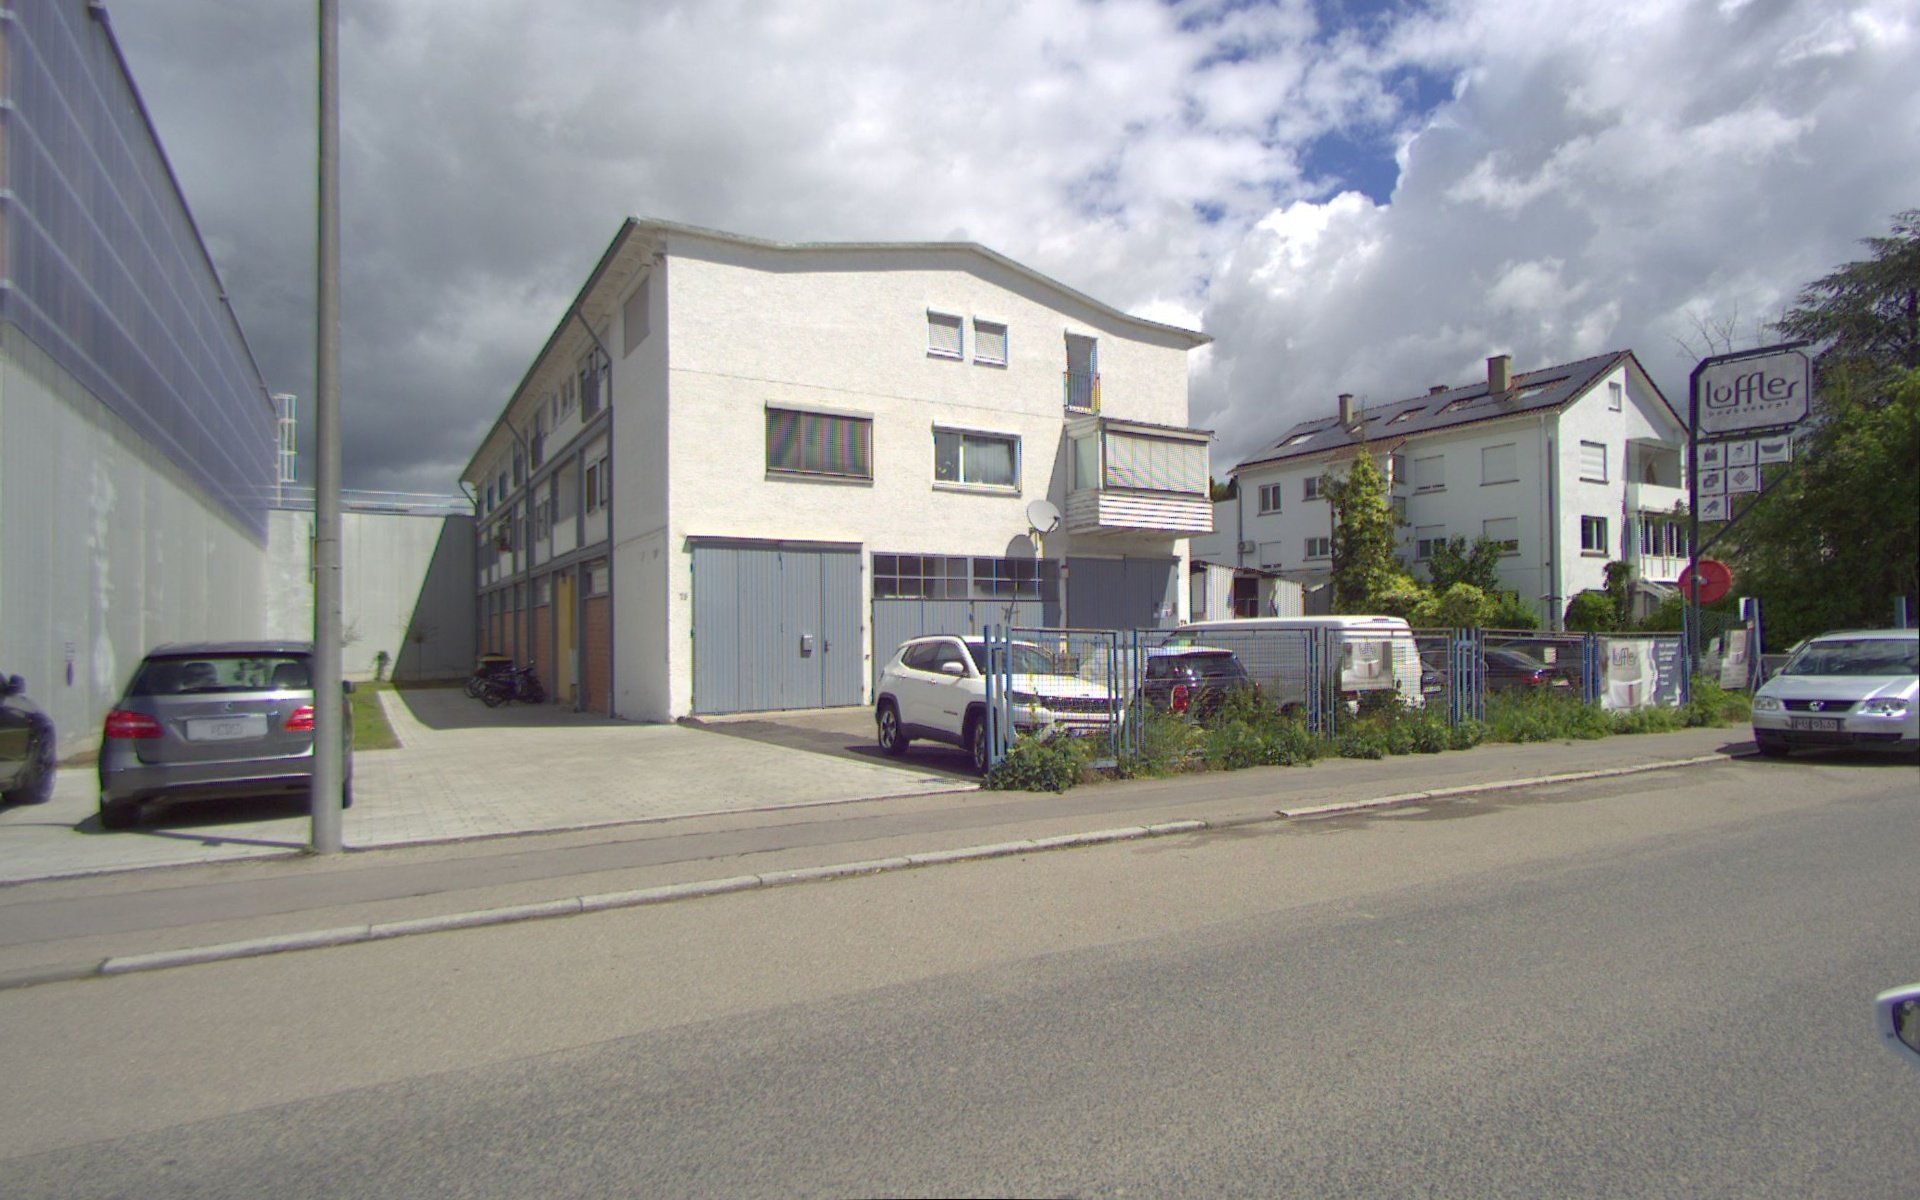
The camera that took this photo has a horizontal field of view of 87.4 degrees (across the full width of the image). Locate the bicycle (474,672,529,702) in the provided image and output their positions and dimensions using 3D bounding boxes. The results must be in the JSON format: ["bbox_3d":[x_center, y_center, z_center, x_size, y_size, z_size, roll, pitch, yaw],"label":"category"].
[{"bbox_3d":[-14.762,2.795,32.356,1.579,0.867,0.392,1,1,-31],"label":"bicycle"}]

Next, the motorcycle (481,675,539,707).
[{"bbox_3d":[-13.916,2.808,31.064,1.579,0.867,0.539,1,1,-31],"label":"motorcycle"}]

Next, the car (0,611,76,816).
[{"bbox_3d":[-9.099,0.966,8.179,2.174,1.654,4.602,1,-5,-33],"label":"car"}]

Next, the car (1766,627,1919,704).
[{"bbox_3d":[21.137,1.493,23.897,3.959,1.679,1.981,1,-2,-35],"label":"car"}]

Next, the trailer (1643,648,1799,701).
[{"bbox_3d":[19.801,1.882,26.100,4.329,1.197,1.849,1,-2,-33],"label":"trailer"}]

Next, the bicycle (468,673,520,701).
[{"bbox_3d":[-15.890,2.955,34.258,1.579,0.867,0.444,1,1,-31],"label":"bicycle"}]

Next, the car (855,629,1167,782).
[{"bbox_3d":[0.443,1.237,12.803,1.968,1.586,4.261,5,-4,-29],"label":"car"}]

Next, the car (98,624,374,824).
[{"bbox_3d":[-7.027,1.131,10.044,1.806,1.524,4.437,1,-5,-33],"label":"car"}]

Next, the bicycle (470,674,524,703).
[{"bbox_3d":[-15.168,2.894,32.914,1.579,0.867,0.297,1,1,-31],"label":"bicycle"}]

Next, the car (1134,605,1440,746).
[{"bbox_3d":[4.889,1.136,15.604,1.969,1.859,4.258,5,-4,-31],"label":"car"}]

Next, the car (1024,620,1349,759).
[{"bbox_3d":[2.927,1.163,13.880,1.969,1.586,4.258,5,-4,-31],"label":"car"}]

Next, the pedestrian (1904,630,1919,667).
[{"bbox_3d":[46.661,2.327,46.525,1.979,1.729,3.962,1,1,-34],"label":"pedestrian"}]

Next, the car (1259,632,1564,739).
[{"bbox_3d":[7.287,1.349,16.641,1.969,1.504,4.258,5,-4,-31],"label":"car"}]

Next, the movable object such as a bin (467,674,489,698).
[{"bbox_3d":[-16.993,3.026,35.439,0.634,0.762,0.815,1,1,-30],"label":"movable object such as a bin"}]

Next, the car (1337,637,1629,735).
[{"bbox_3d":[9.165,1.475,17.958,1.969,1.504,4.258,5,-4,-31],"label":"car"}]

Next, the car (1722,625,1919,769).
[{"bbox_3d":[12.101,1.166,13.233,4.313,1.624,1.783,1,-3,-31],"label":"car"}]
